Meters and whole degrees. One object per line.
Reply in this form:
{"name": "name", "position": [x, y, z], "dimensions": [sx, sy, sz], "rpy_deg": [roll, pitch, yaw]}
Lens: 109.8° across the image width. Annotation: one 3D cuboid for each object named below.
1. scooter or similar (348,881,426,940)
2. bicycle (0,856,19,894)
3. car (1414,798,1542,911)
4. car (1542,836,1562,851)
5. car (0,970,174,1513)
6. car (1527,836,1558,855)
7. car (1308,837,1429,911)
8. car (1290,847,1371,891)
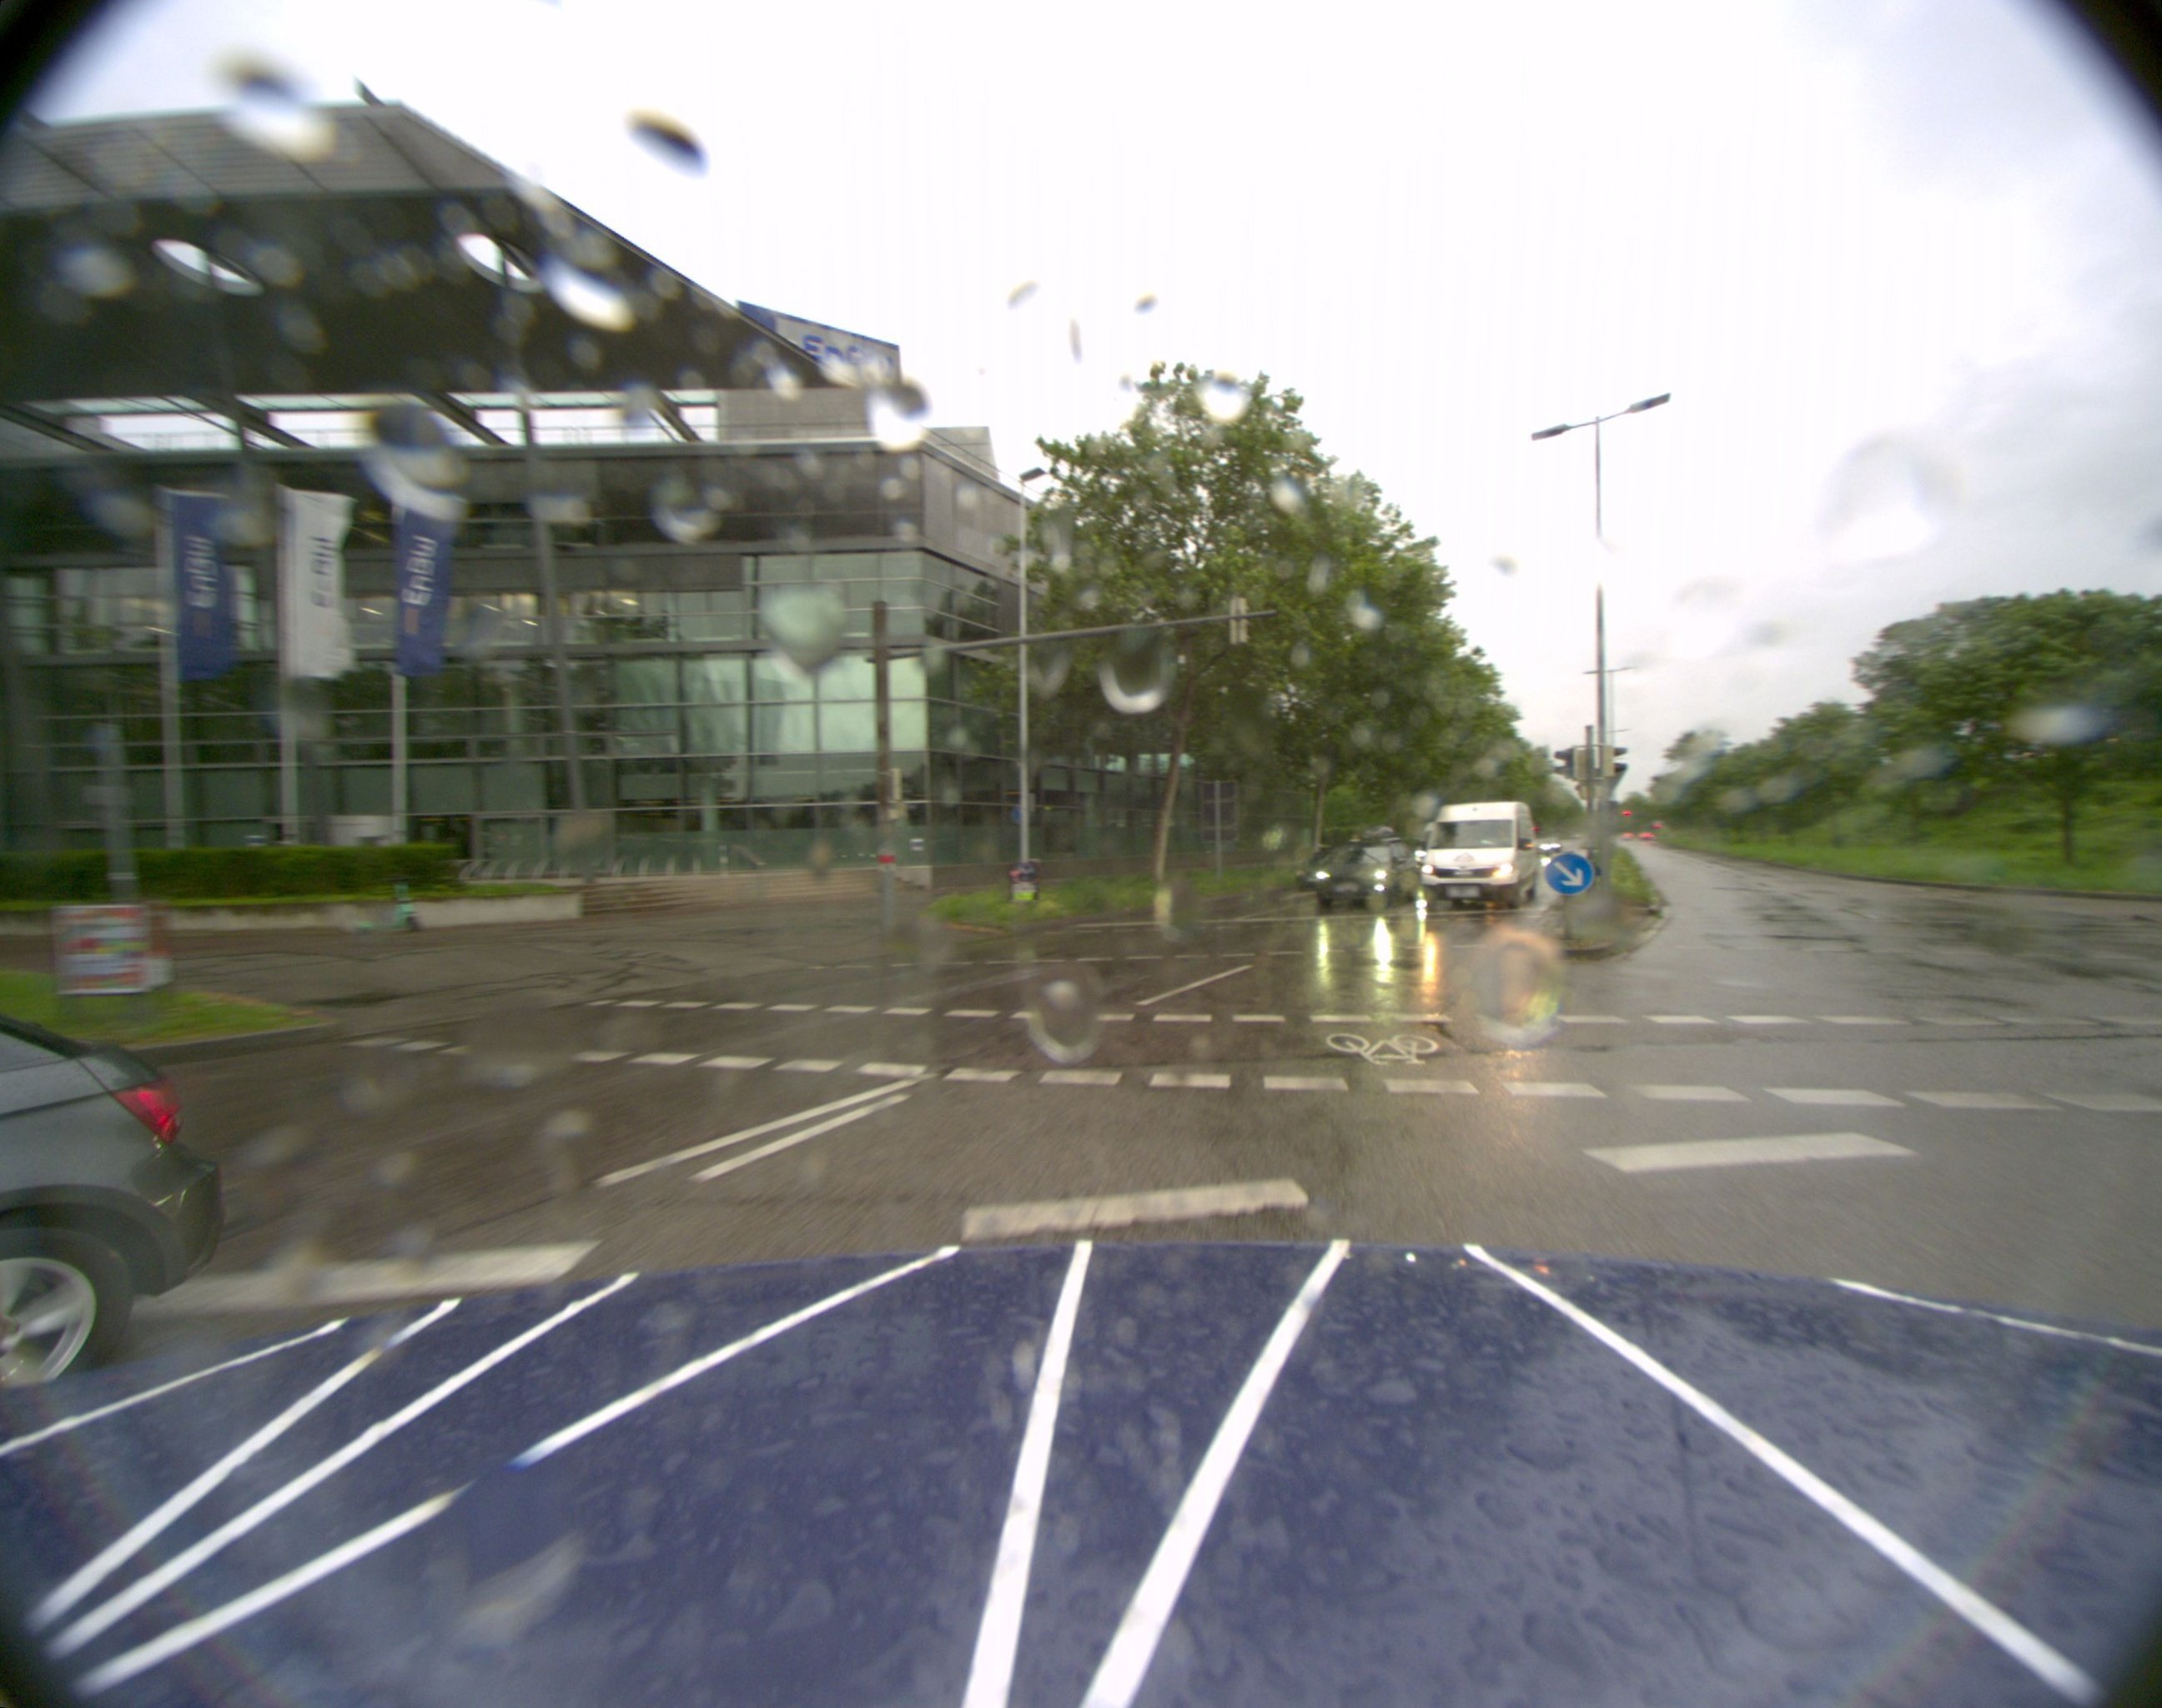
{"name": "scooter or similar", "position": [-14.060, 1.137, 15.401], "dimensions": [1.174, 1.132, 0.340], "rpy_deg": [-1, 2, -4]}
{"name": "bicycle", "position": [-37.943, 0.777, 25.405], "dimensions": [1.193, 1.324, 3.687], "rpy_deg": [-2, 1, -26]}
{"name": "car", "position": [10.196, -0.058, 19.207], "dimensions": [1.964, 2.420, 5.973], "rpy_deg": [0, 2, 36]}
{"name": "car", "position": [50.758, -1.180, 81.870], "dimensions": [1.577, 1.514, 3.932], "rpy_deg": [0, 2, 35]}
{"name": "car", "position": [-4.186, 1.110, 0.741], "dimensions": [1.839, 1.390, 3.757], "rpy_deg": [-2, 0, 15]}
{"name": "car", "position": [40.369, -0.743, 66.421], "dimensions": [1.904, 1.576, 3.932], "rpy_deg": [0, 2, 37]}
{"name": "car", "position": [7.739, 0.439, 20.208], "dimensions": [1.994, 1.738, 4.336], "rpy_deg": [0, 1, 35]}
{"name": "car", "position": [9.216, 0.520, 27.862], "dimensions": [1.798, 1.428, 4.007], "rpy_deg": [-1, 1, 34]}
